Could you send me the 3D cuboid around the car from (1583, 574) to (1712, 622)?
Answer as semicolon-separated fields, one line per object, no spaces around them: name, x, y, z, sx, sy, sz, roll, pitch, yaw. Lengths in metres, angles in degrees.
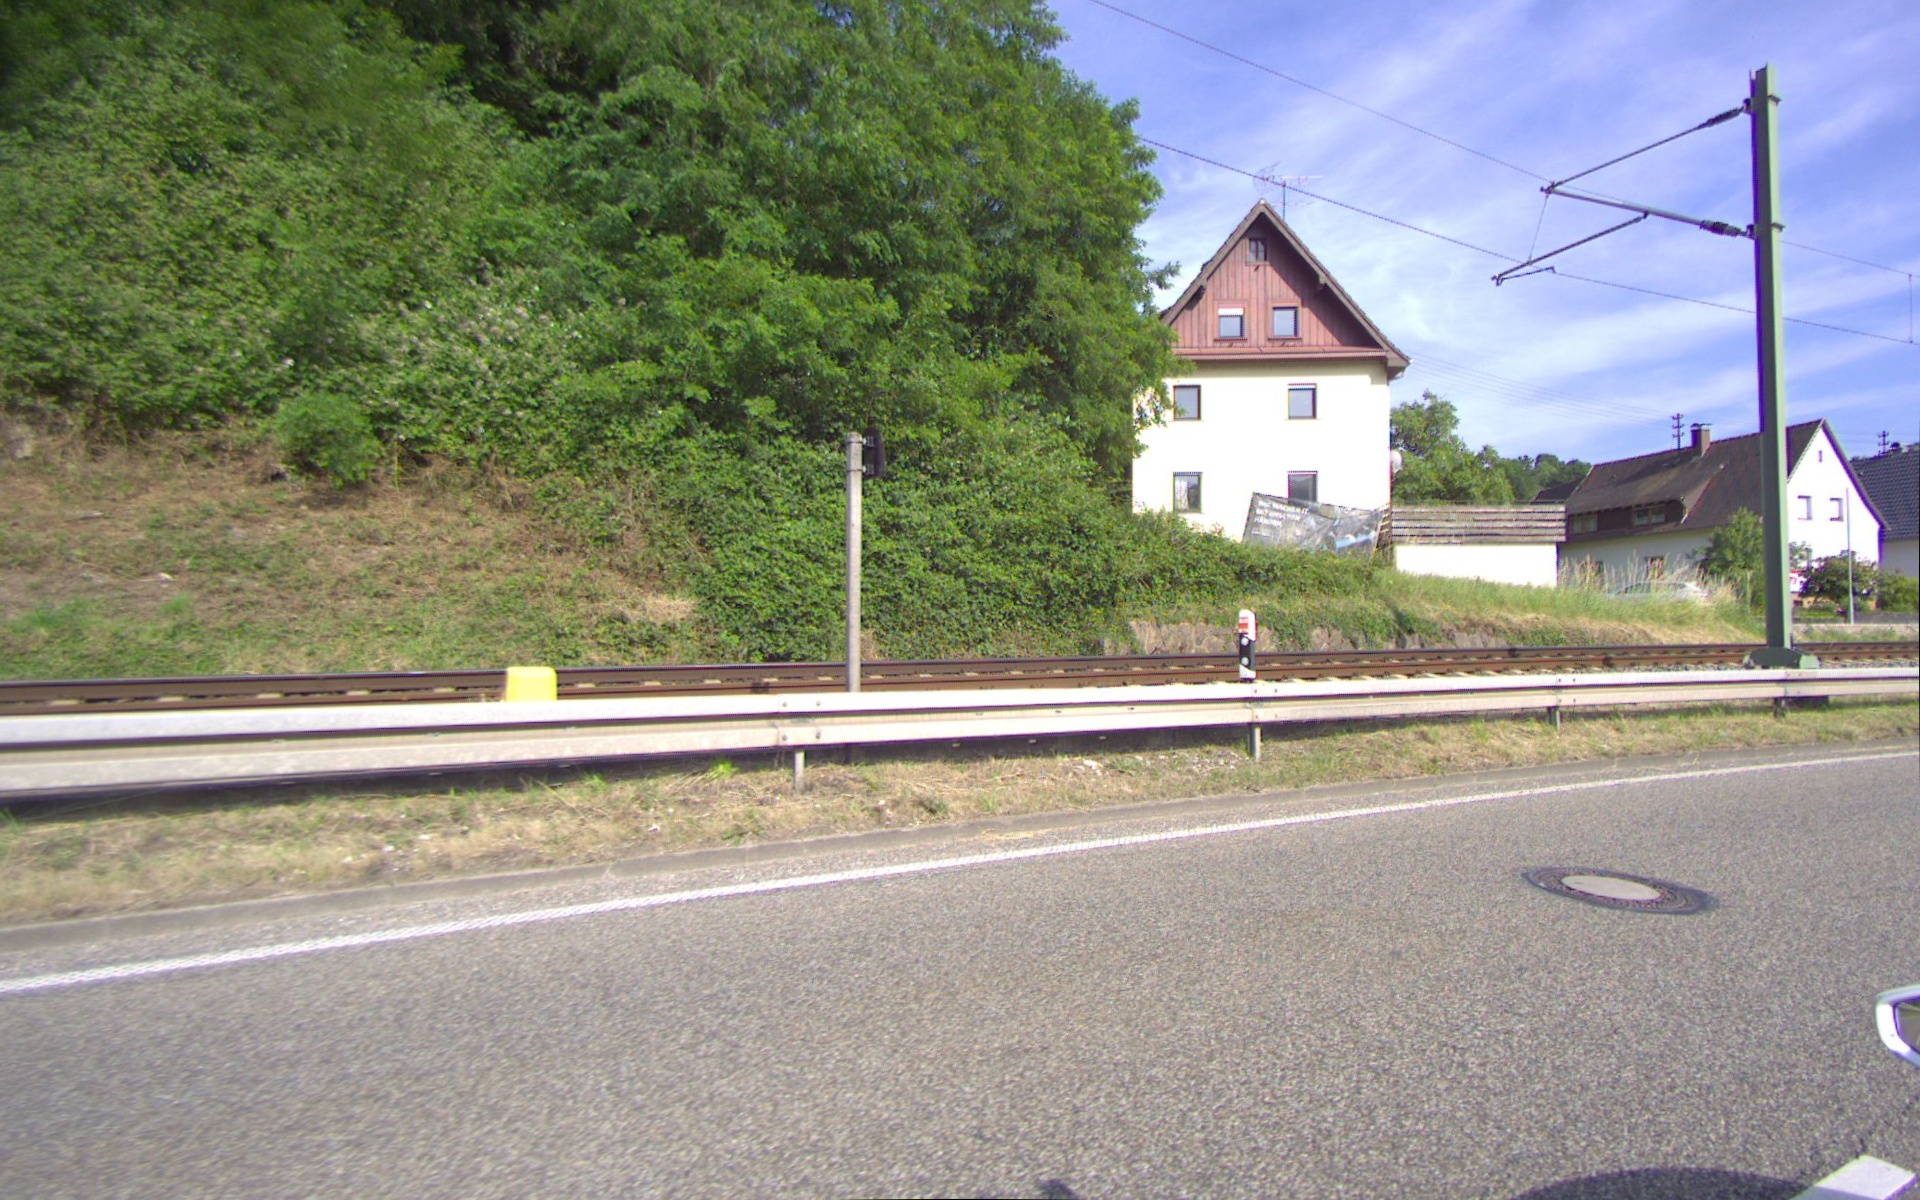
car;26.133;-0.072;38.273;3.961;1.697;1.643;-1;2;36
